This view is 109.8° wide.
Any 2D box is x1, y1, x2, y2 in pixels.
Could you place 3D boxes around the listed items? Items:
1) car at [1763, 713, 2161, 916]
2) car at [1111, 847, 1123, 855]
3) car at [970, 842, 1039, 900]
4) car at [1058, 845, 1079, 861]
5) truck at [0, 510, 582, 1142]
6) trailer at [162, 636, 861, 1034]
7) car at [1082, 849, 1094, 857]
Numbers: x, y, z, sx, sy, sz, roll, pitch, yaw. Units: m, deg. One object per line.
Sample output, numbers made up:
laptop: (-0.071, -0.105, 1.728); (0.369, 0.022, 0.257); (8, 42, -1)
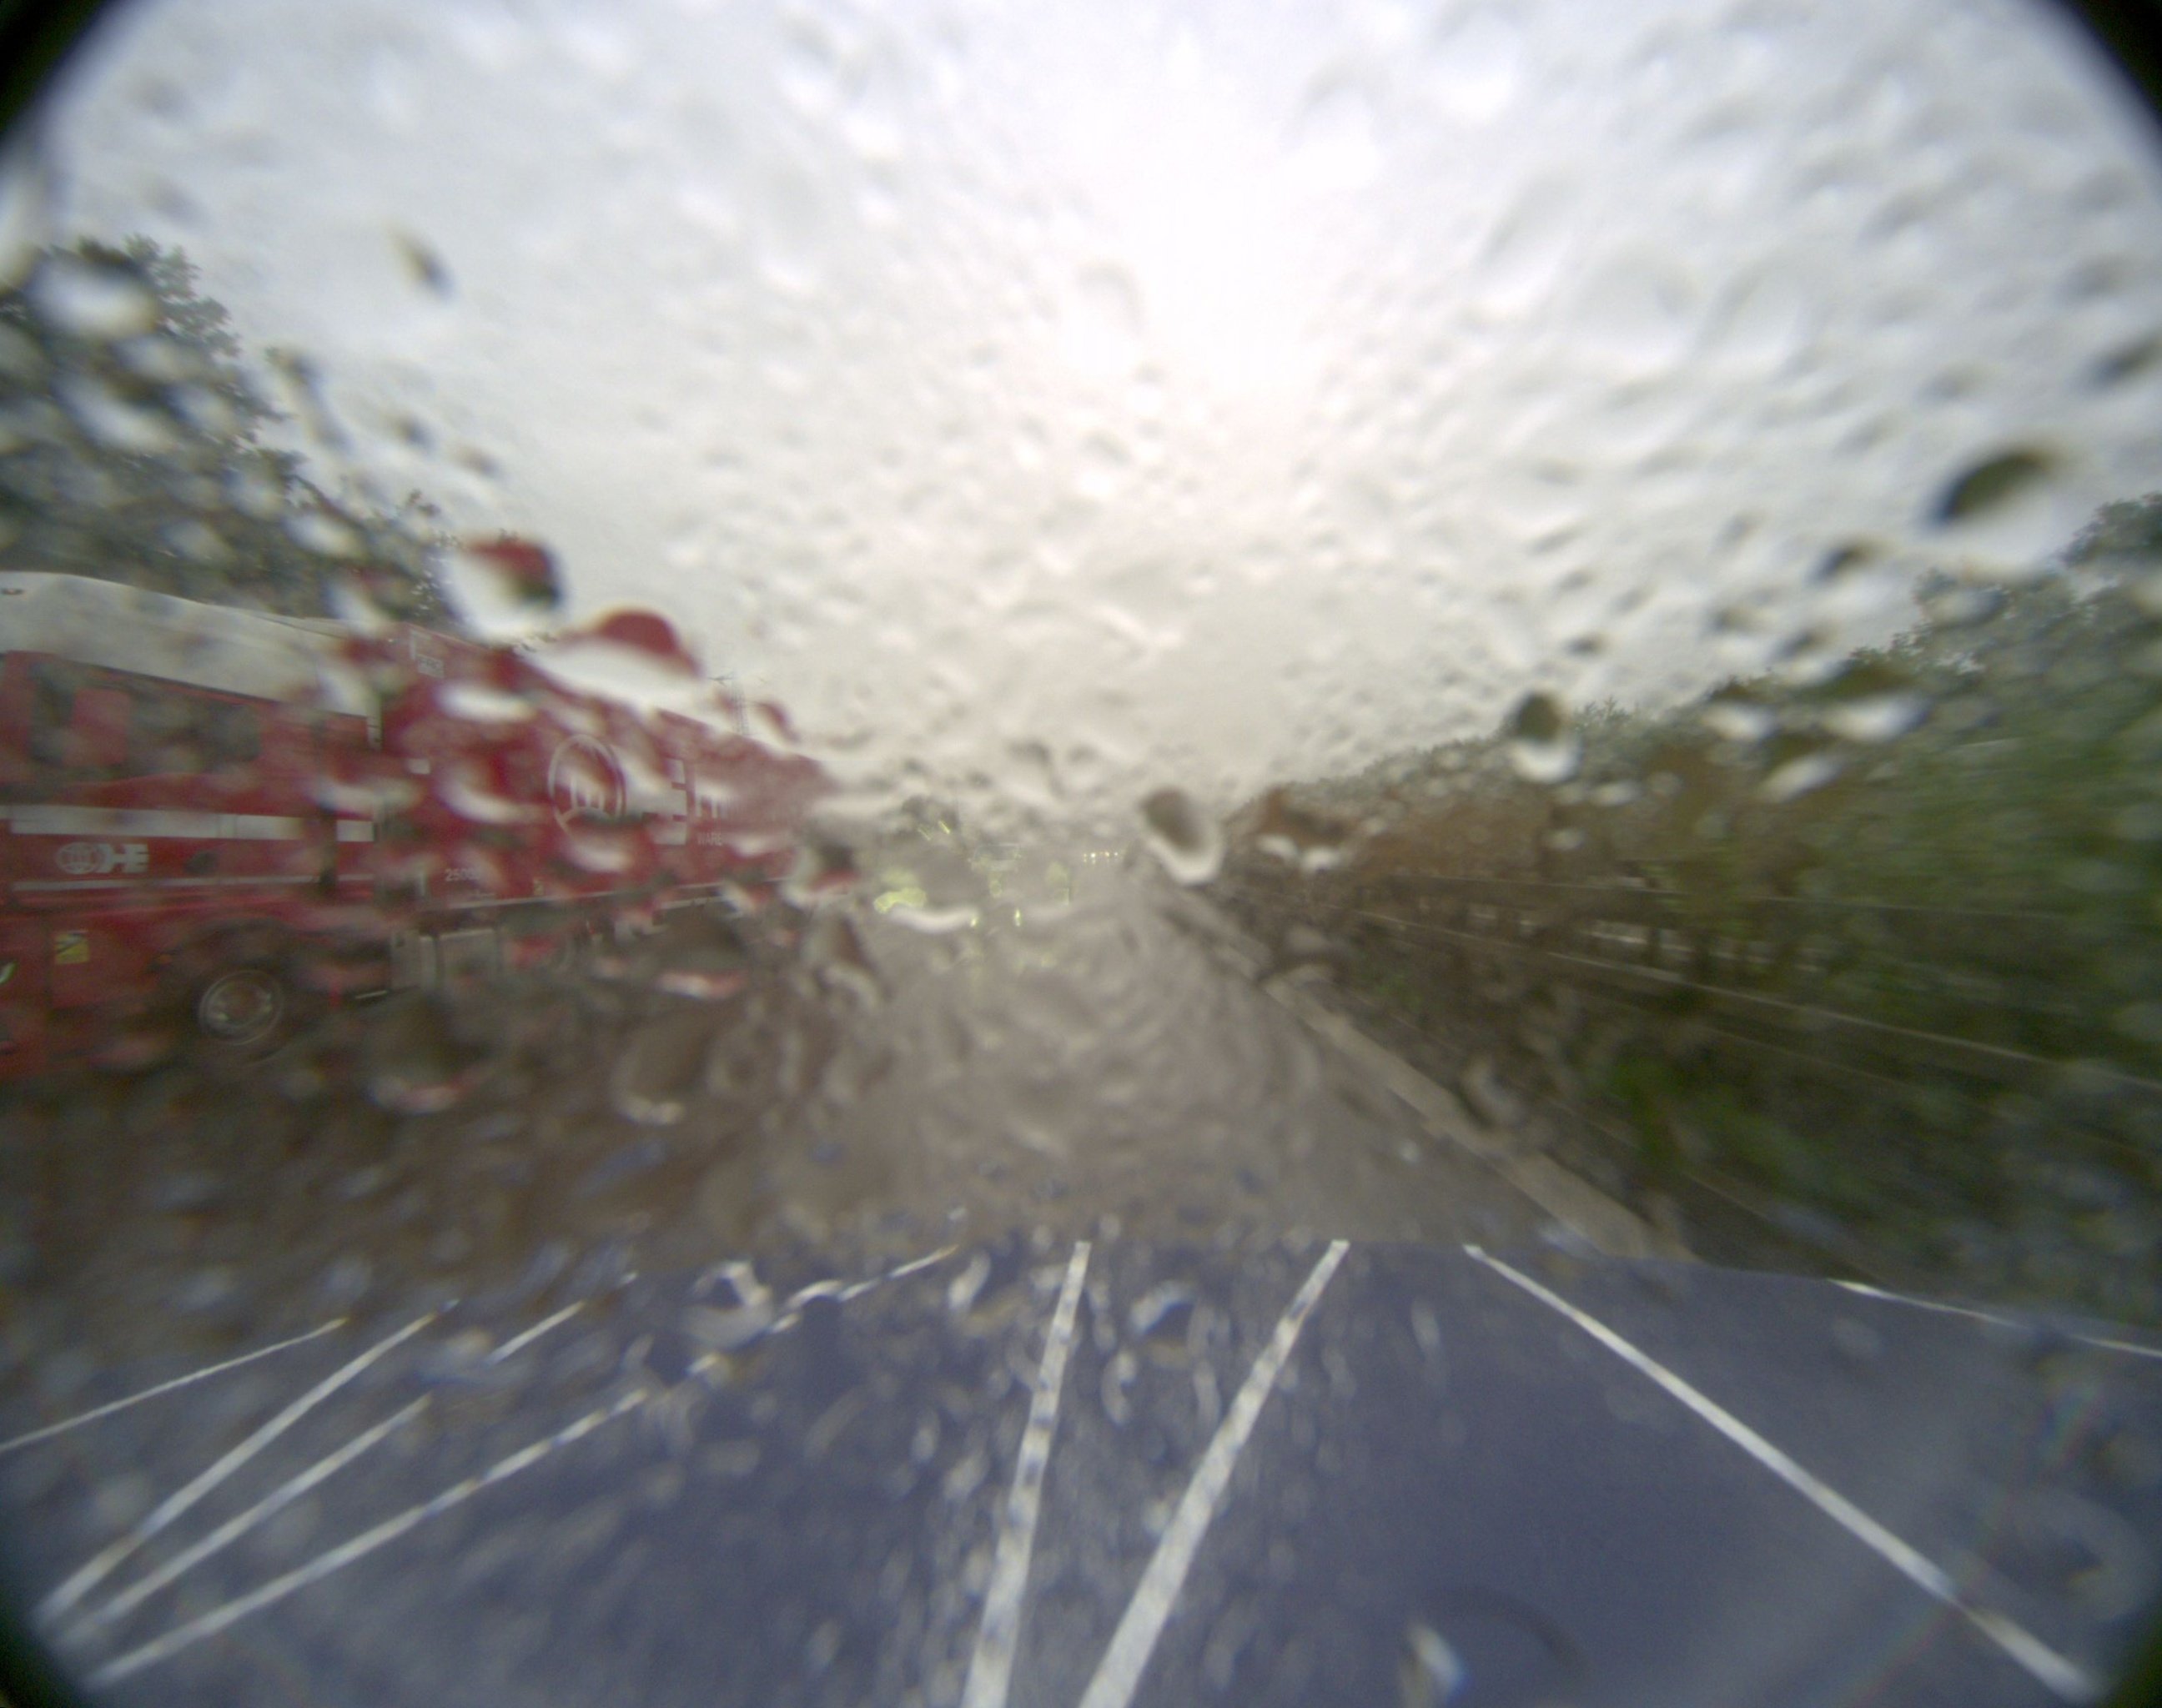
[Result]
car: (16.290, -0.610, 13.017); (2.553, 2.808, 7.426); (-3, 0, 1)
car: (6.601, -0.574, 140.597); (1.768, 1.448, 3.961); (-5, 0, 8)
car: (-2.830, 0.600, 29.206); (1.892, 1.873, 5.009); (-5, 0, 1)
car: (-1.241, -0.062, 76.826); (1.769, 1.448, 3.959); (-5, 0, 2)
truck: (-7.942, -0.172, 7.125); (2.626, 3.932, 5.433); (-2, 1, 2)
trailer: (-7.729, -0.246, 14.500); (2.626, 3.932, 13.629); (-2, 1, 1)
car: (1.360, -0.179, 141.594); (1.768, 1.448, 3.960); (-5, 0, 6)
